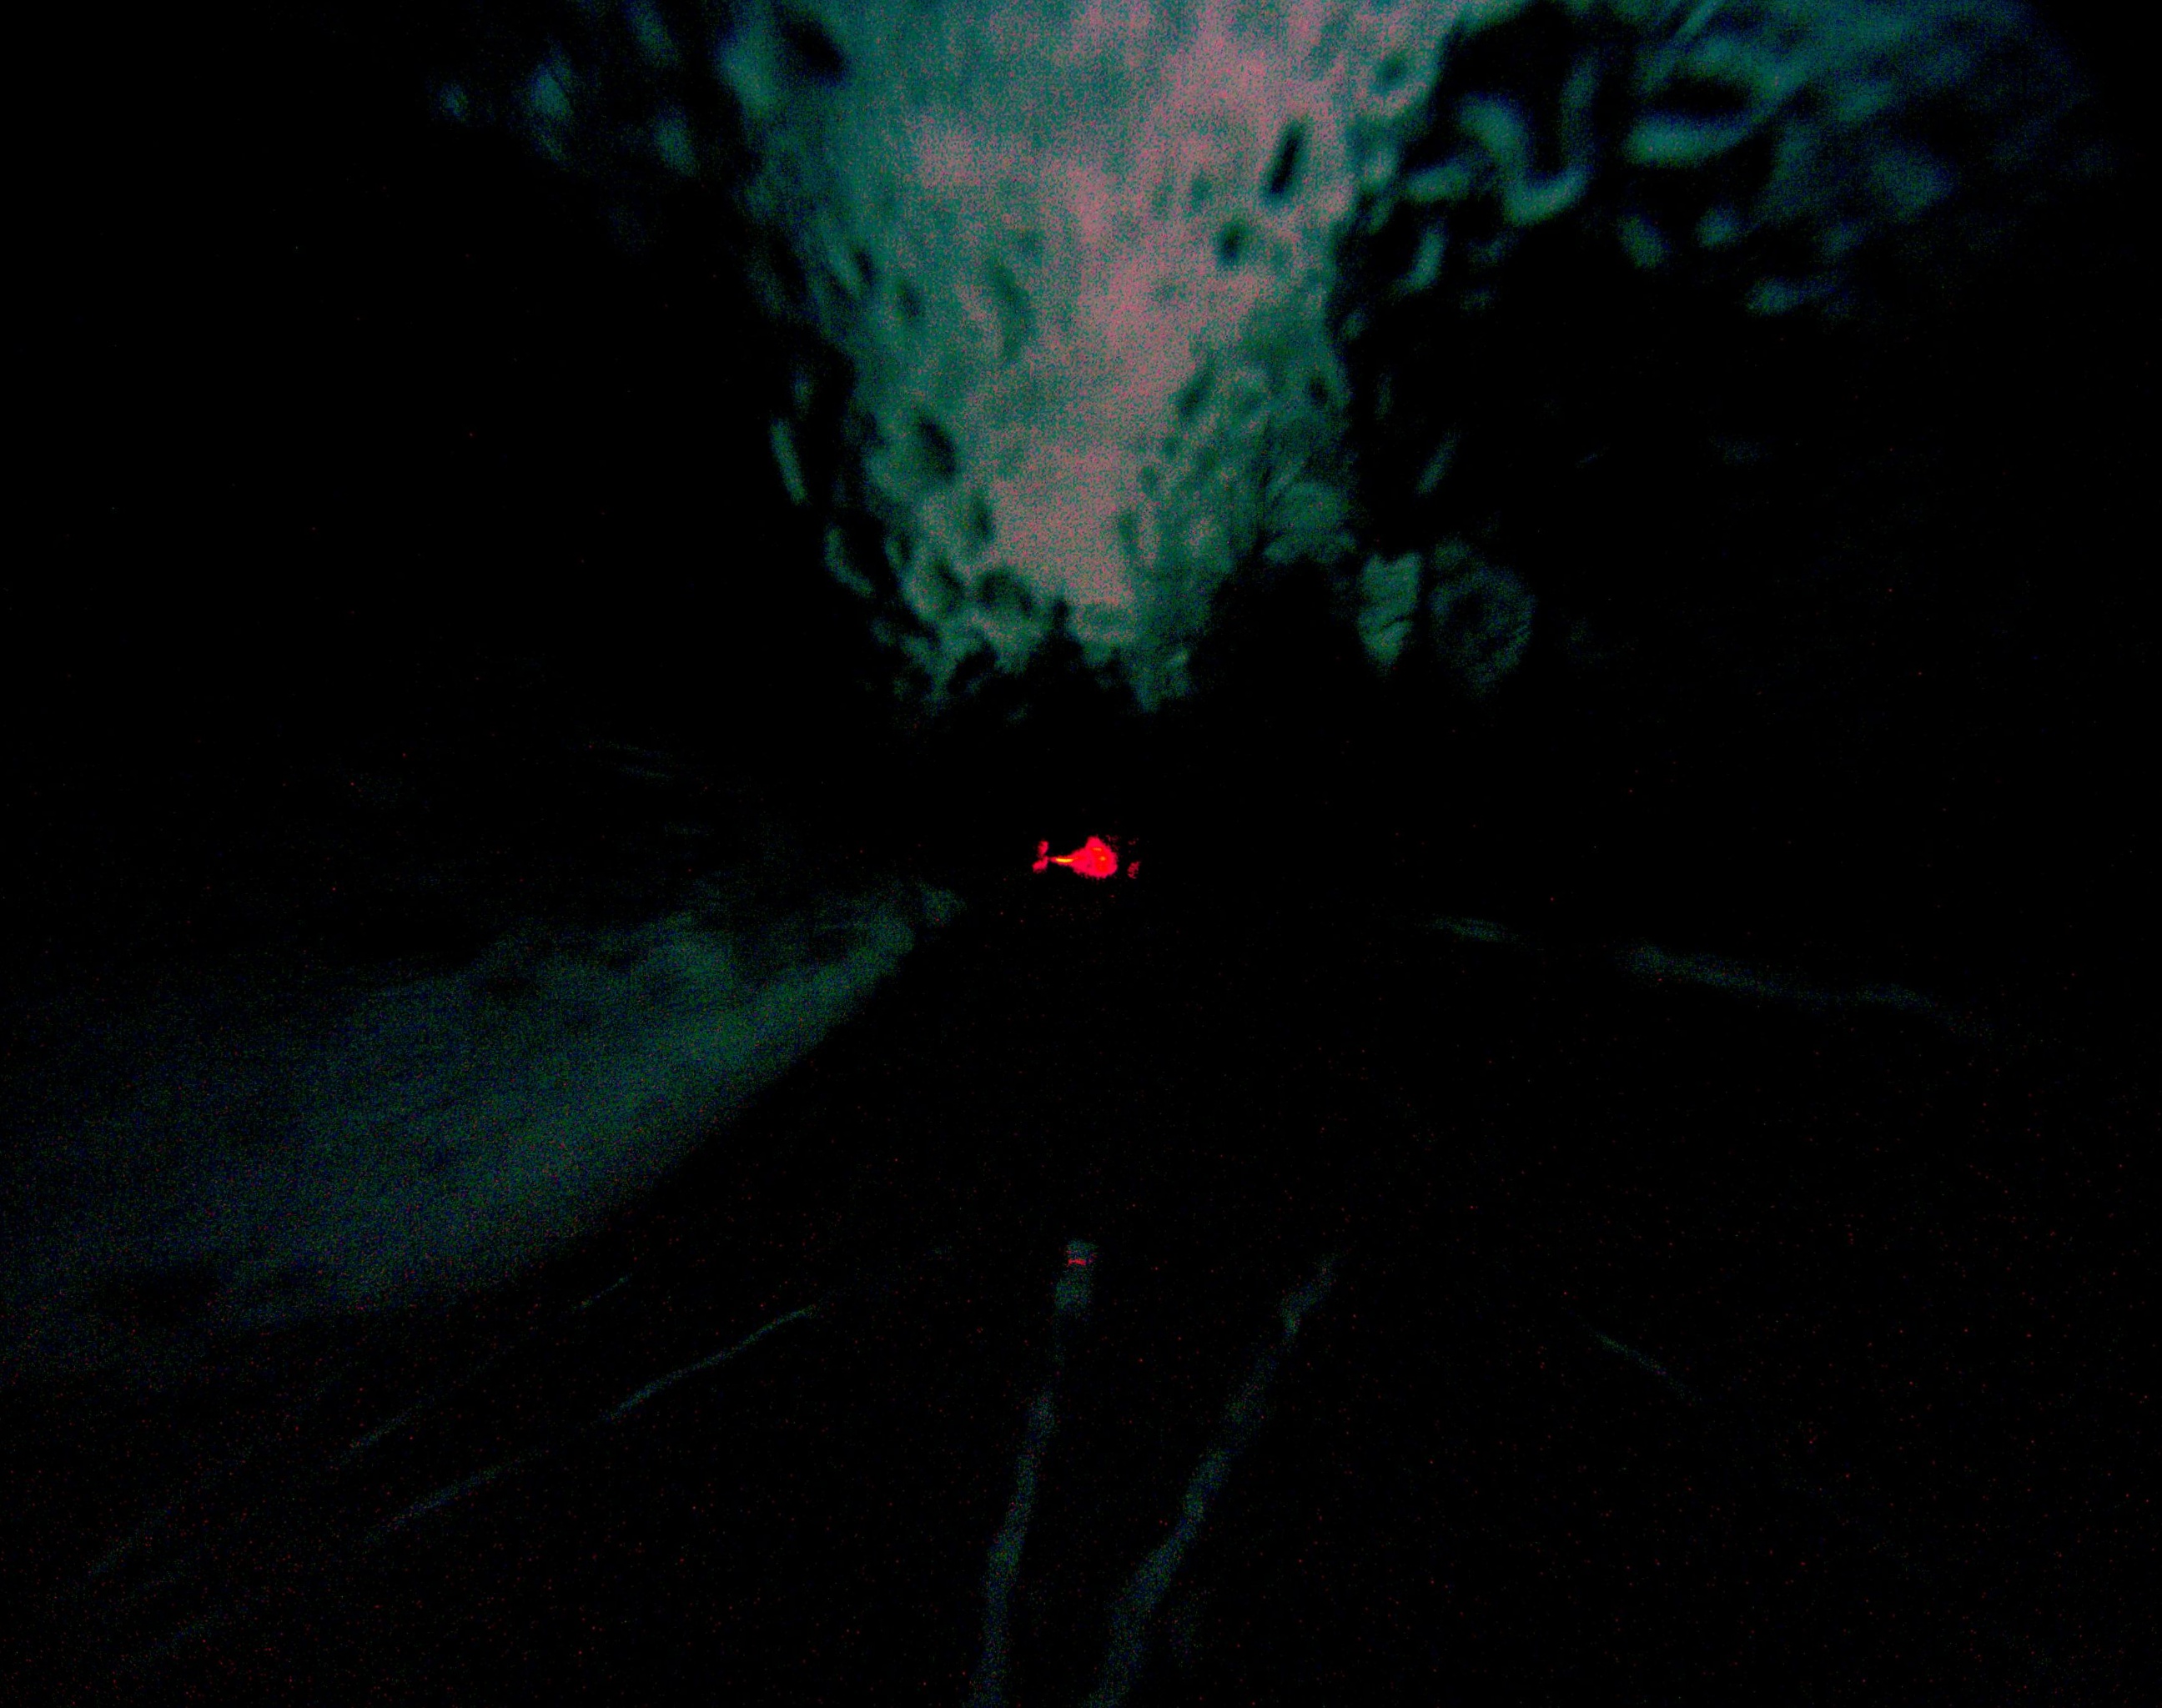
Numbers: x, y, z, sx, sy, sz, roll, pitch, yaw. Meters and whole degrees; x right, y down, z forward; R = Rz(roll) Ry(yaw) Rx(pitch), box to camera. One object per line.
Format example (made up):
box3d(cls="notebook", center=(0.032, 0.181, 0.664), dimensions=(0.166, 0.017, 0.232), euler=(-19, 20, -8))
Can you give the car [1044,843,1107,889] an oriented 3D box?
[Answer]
box3d(cls="car", center=(-0.296, 0.429, 30.471), dimensions=(1.727, 1.620, 3.996), euler=(-3, 1, -11))
